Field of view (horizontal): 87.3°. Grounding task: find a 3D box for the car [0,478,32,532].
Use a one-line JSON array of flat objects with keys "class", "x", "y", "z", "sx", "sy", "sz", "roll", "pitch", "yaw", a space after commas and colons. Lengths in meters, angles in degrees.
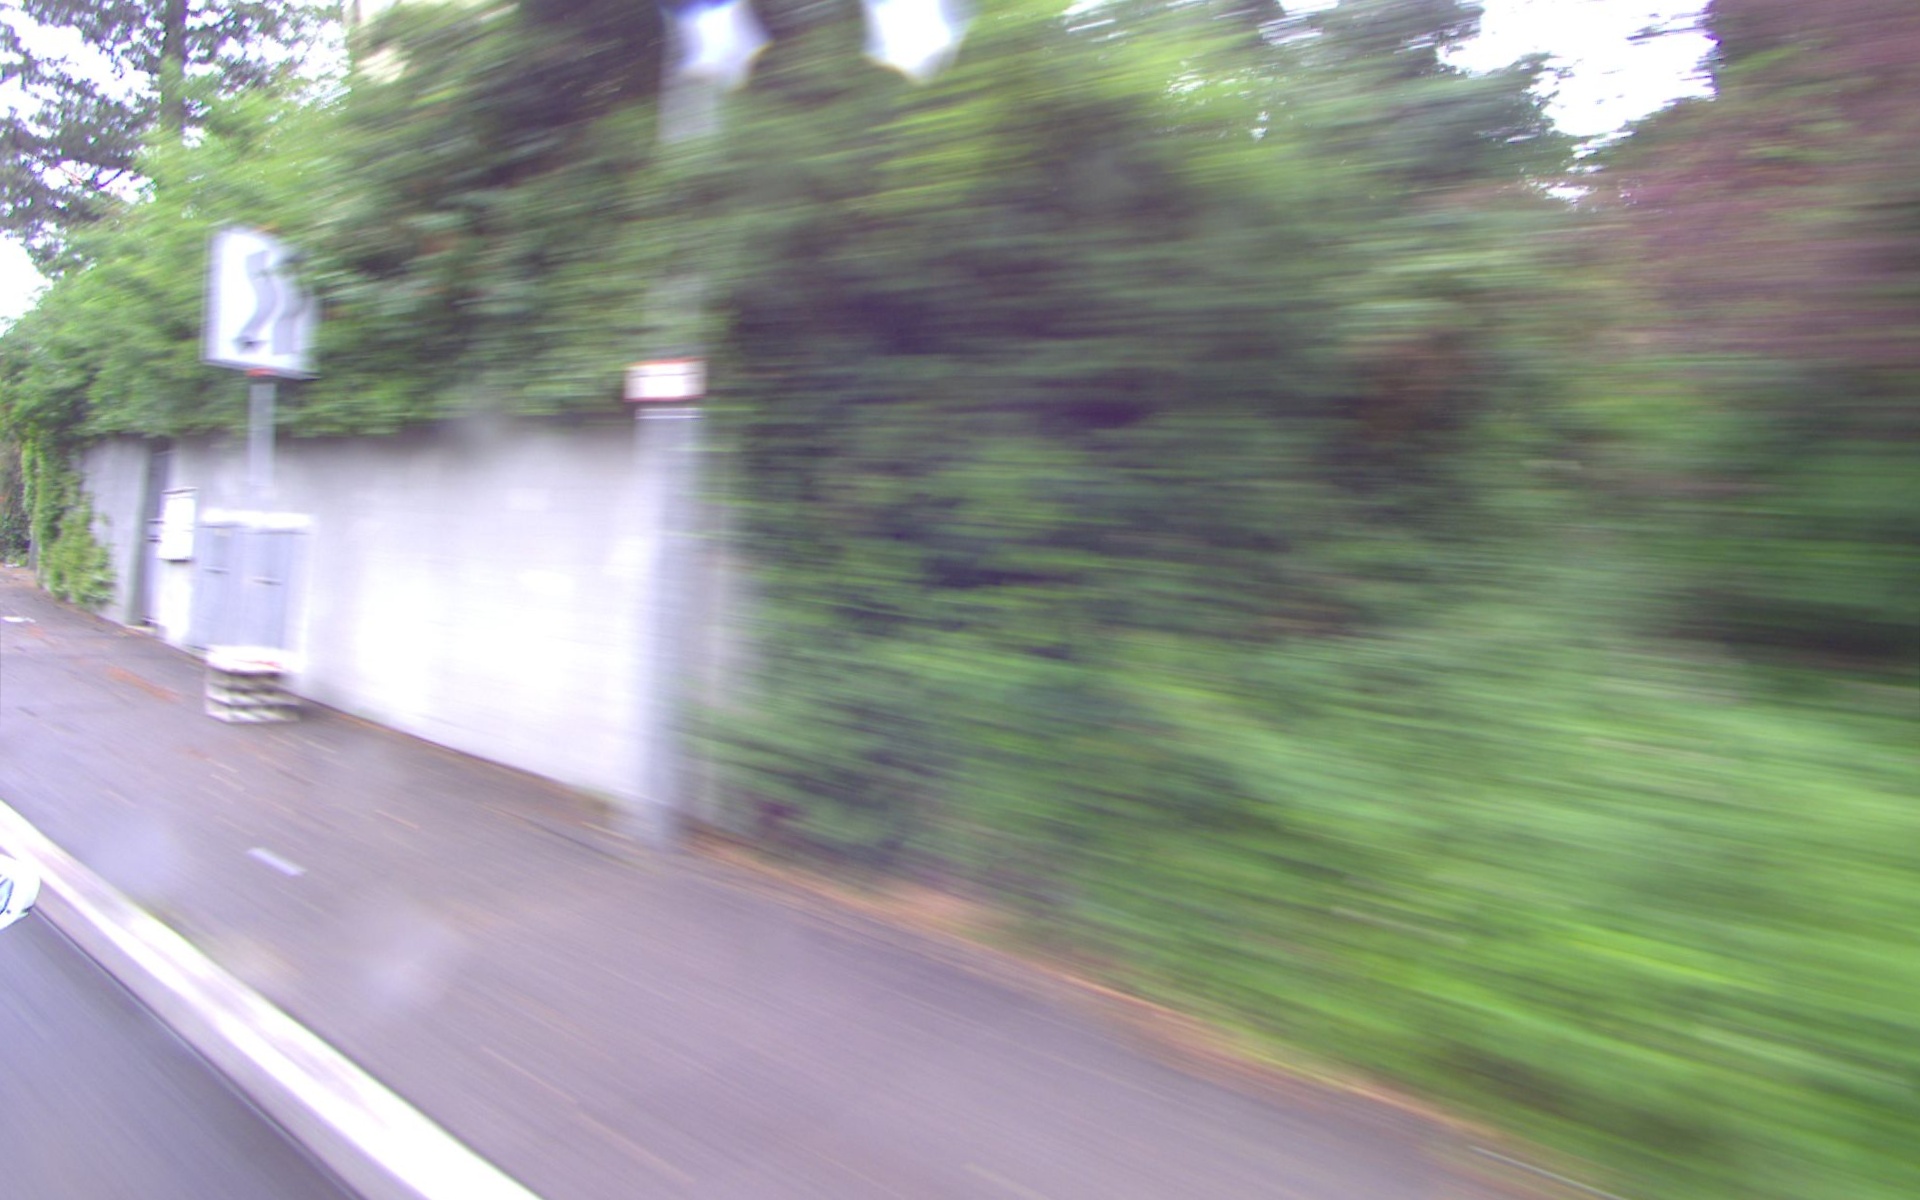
[{"class": "car", "x": -35.862, "y": -3.513, "z": 37.138, "sx": 1.717, "sy": 1.920, "sz": 4.018, "roll": 1, "pitch": 3, "yaw": -34}]
